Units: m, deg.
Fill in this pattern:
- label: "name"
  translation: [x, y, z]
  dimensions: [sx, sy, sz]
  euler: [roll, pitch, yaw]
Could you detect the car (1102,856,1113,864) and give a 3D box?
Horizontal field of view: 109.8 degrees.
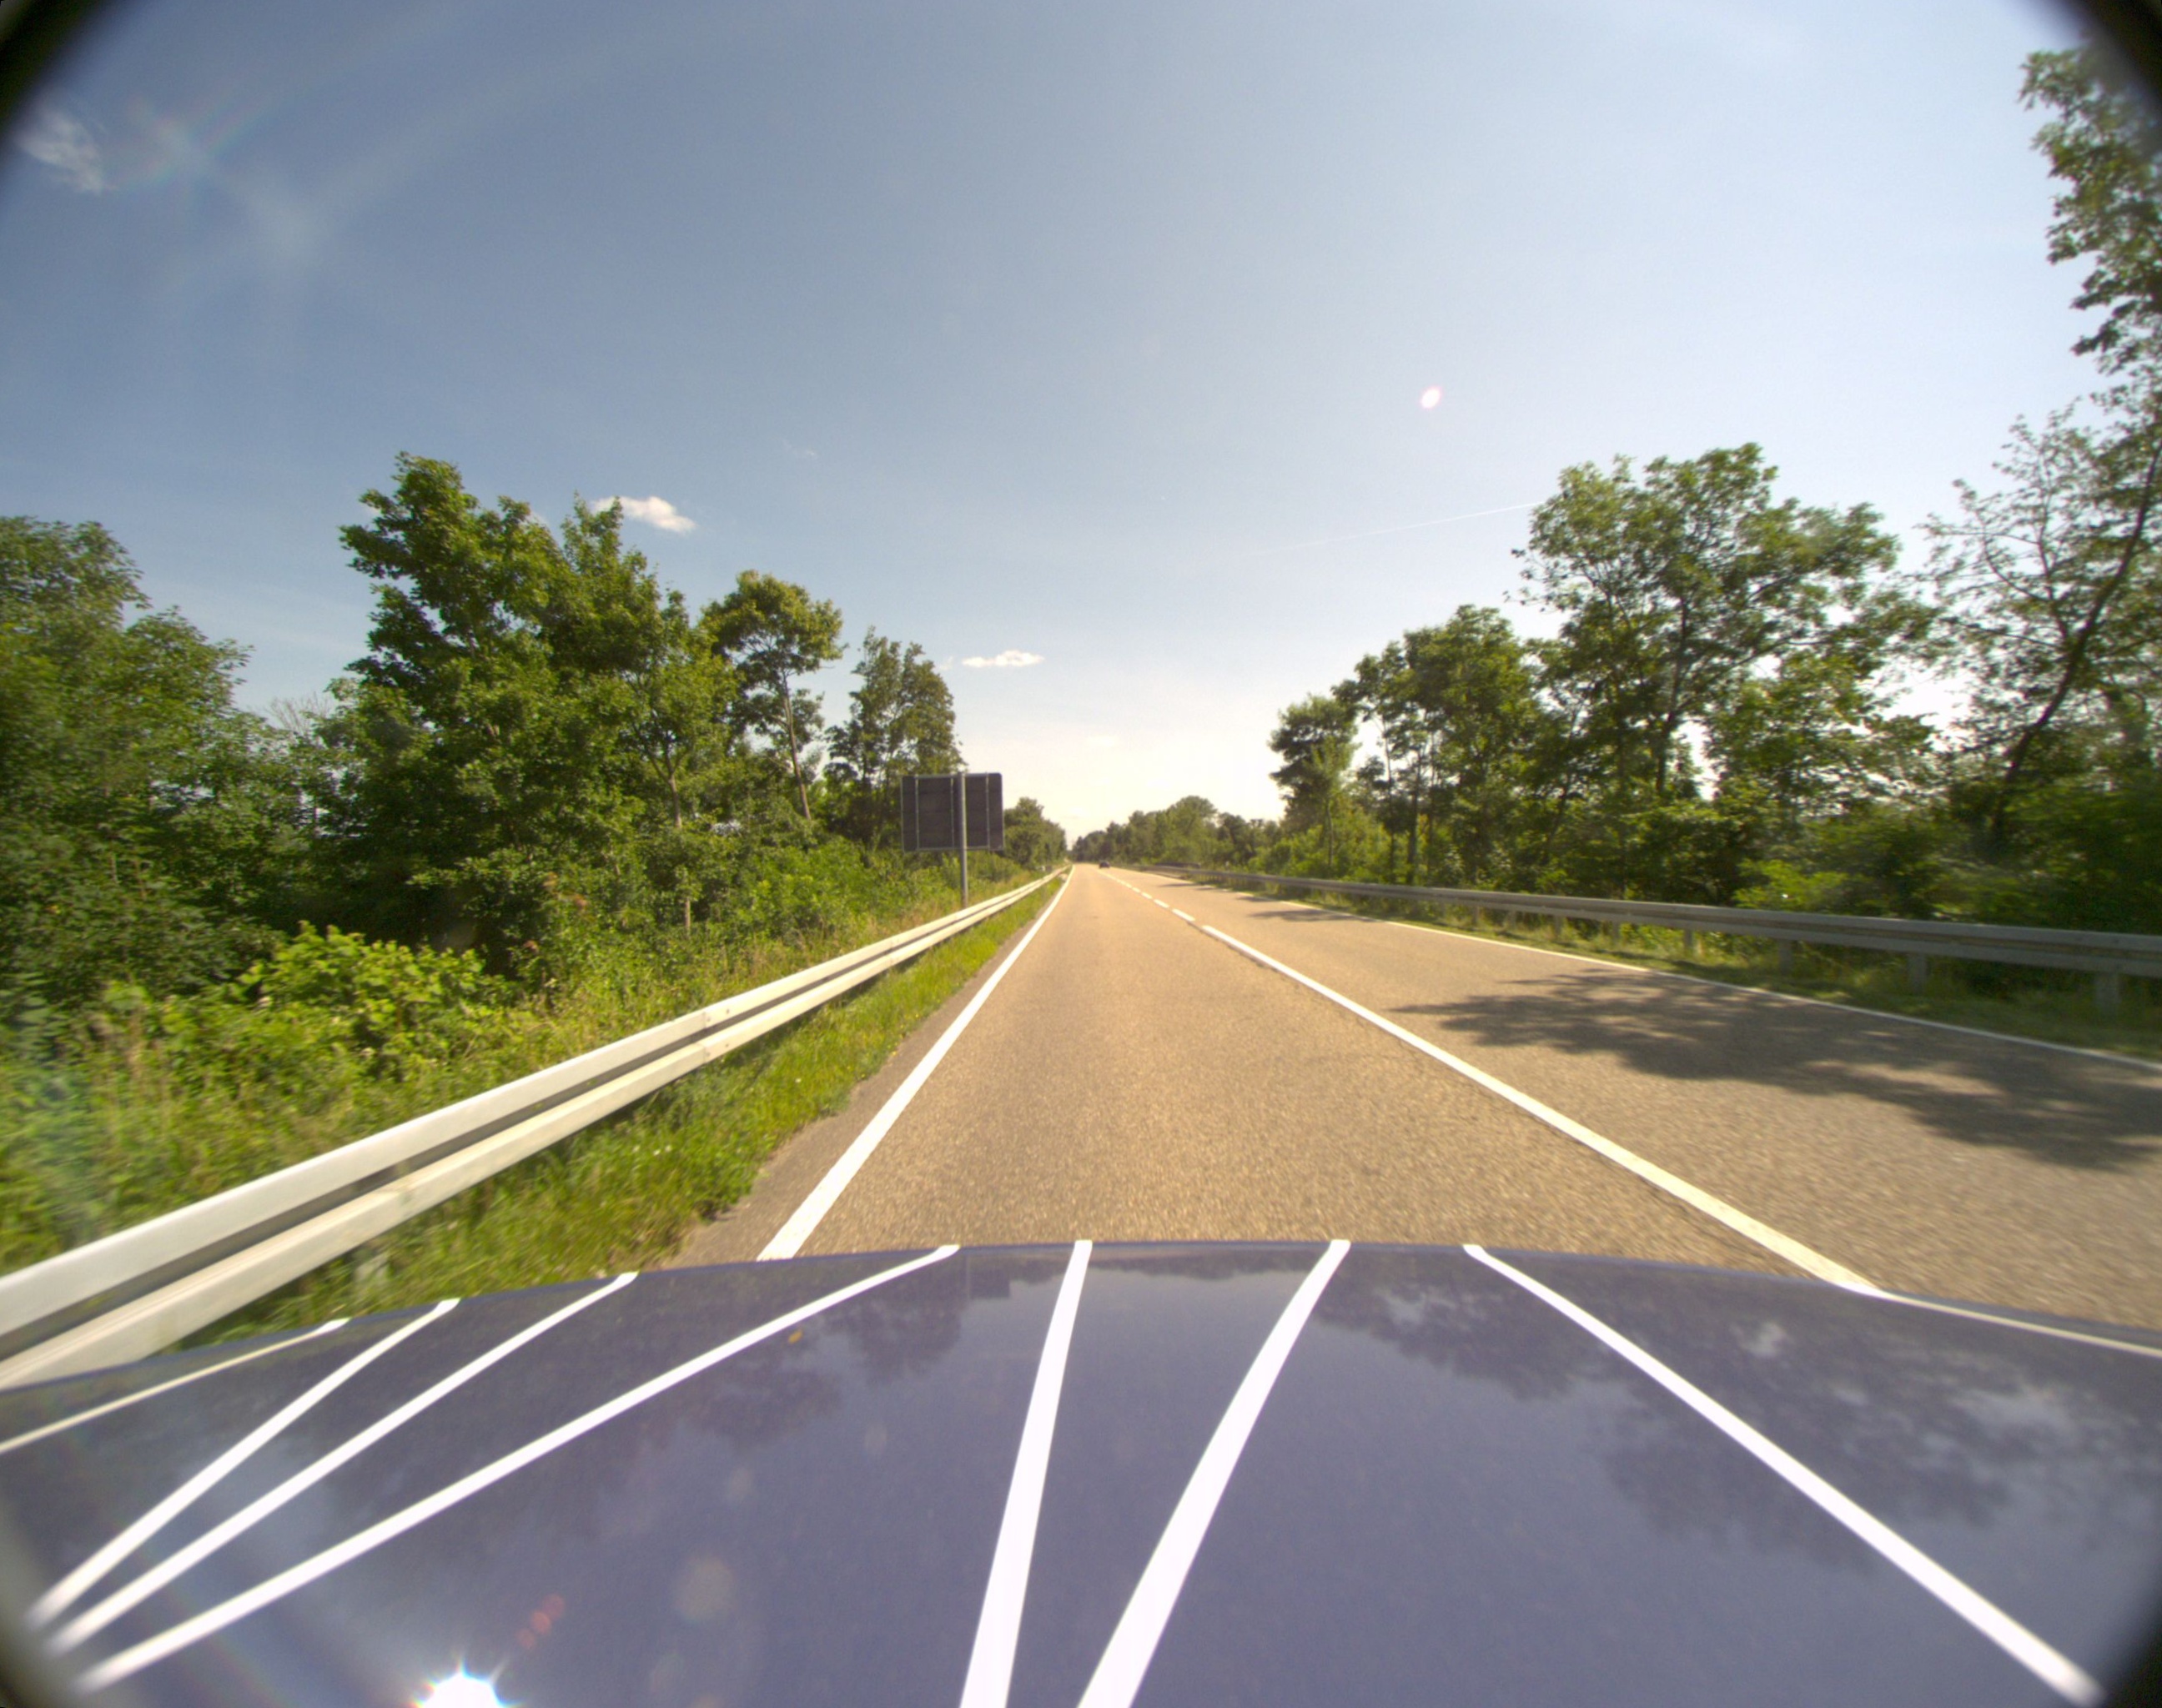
- label: "car"
  translation: [4.902, 1.124, 141.263]
  dimensions: [1.750, 1.416, 4.677]
  euler: [-2, 0, 0]
